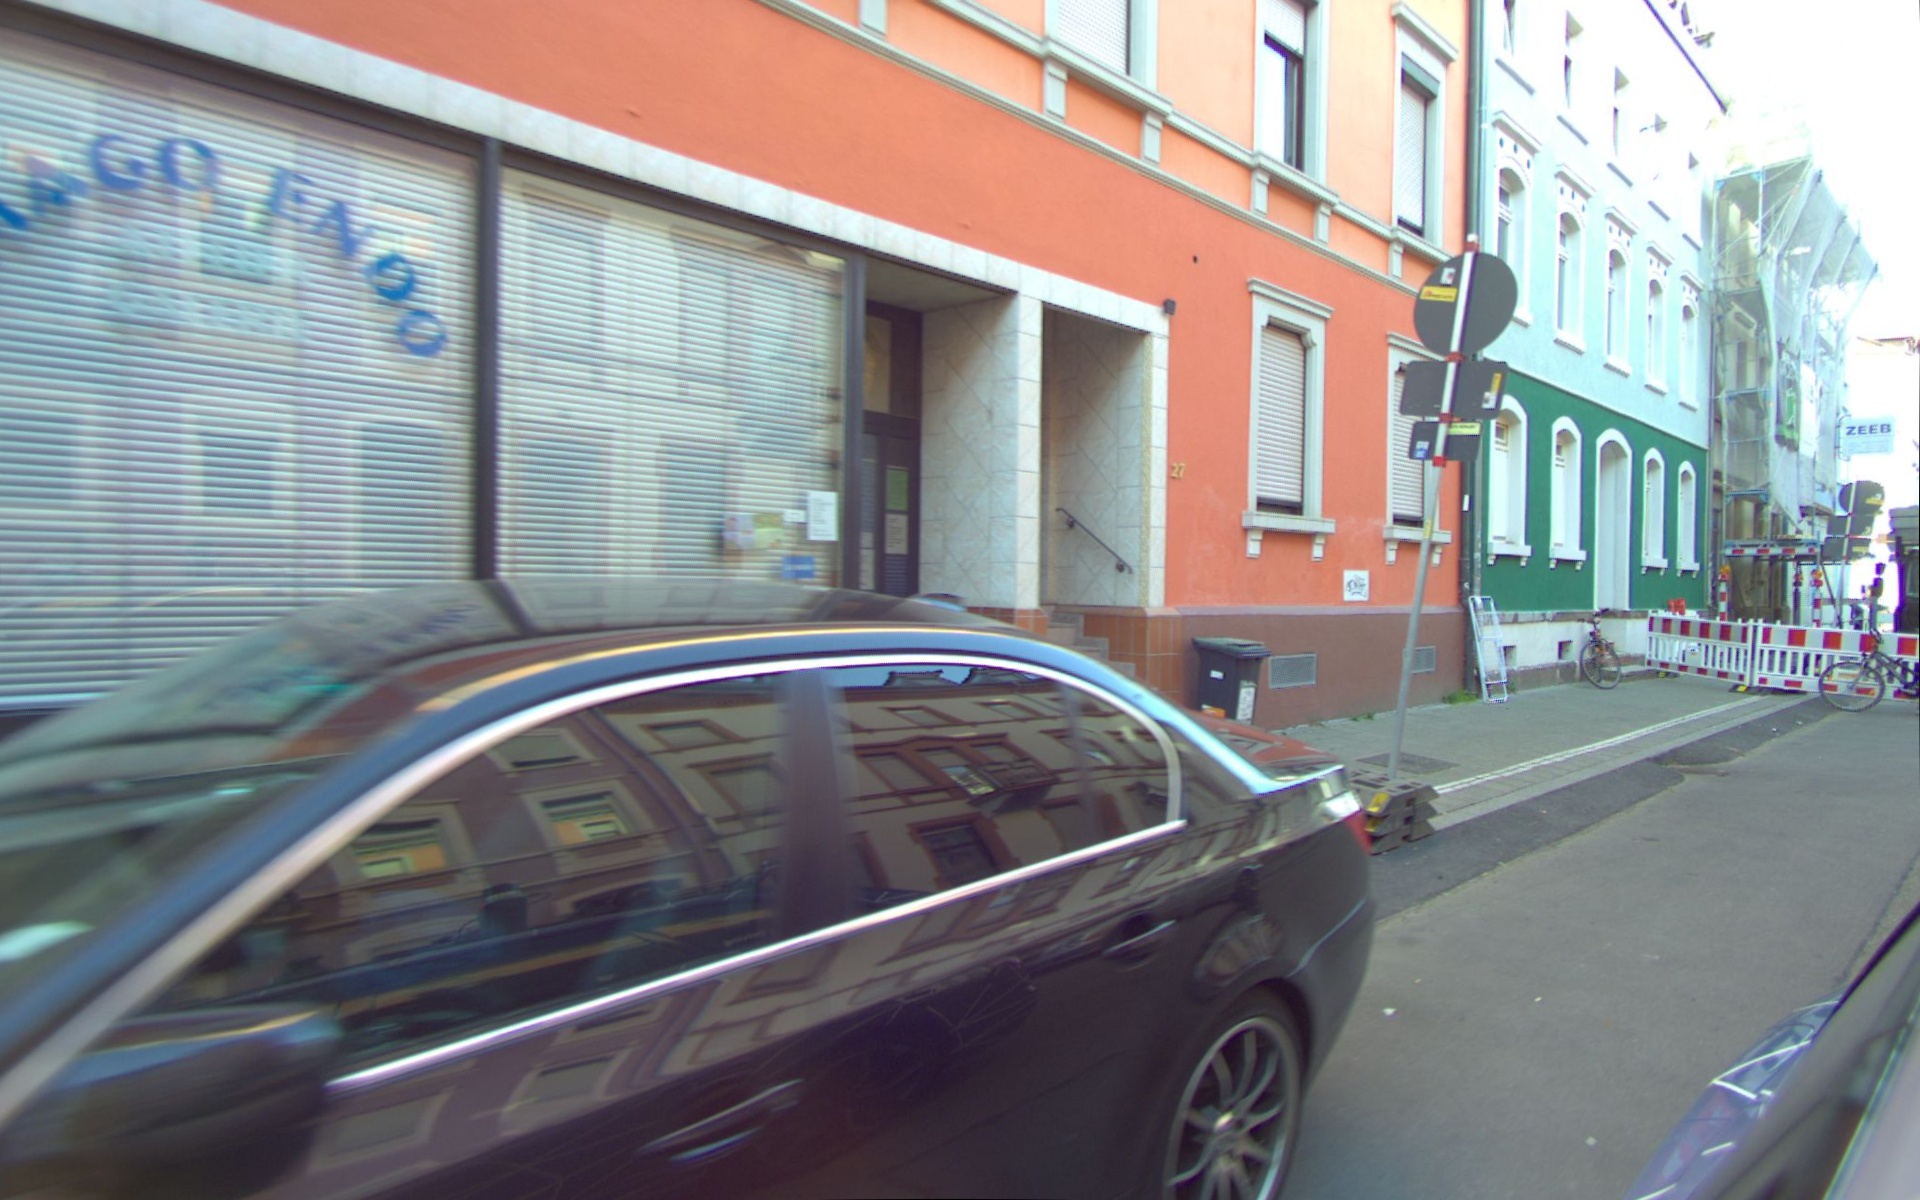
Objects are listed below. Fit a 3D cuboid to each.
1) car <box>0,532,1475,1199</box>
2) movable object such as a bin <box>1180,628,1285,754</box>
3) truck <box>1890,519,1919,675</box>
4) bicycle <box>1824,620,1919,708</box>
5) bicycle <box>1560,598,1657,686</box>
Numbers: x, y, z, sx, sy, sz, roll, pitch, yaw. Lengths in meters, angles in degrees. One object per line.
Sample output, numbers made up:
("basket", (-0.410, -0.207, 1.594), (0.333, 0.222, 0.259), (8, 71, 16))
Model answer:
("car", (-0.950, 0.631, 1.938), (4.708, 1.456, 1.820), (-1, 4, -42))
("movable object such as a bin", (2.257, 0.730, 8.401), (0.570, 0.916, 0.598), (-2, 5, -42))
("truck", (20.862, -0.094, 20.159), (7.265, 2.849, 2.666), (-1, 0, -41))
("bicycle", (12.857, 0.856, 13.618), (1.848, 1.124, 0.634), (0, 0, 43))
("bicycle", (9.547, 0.583, 14.873), (1.802, 1.141, 0.656), (-1, 6, -42))
